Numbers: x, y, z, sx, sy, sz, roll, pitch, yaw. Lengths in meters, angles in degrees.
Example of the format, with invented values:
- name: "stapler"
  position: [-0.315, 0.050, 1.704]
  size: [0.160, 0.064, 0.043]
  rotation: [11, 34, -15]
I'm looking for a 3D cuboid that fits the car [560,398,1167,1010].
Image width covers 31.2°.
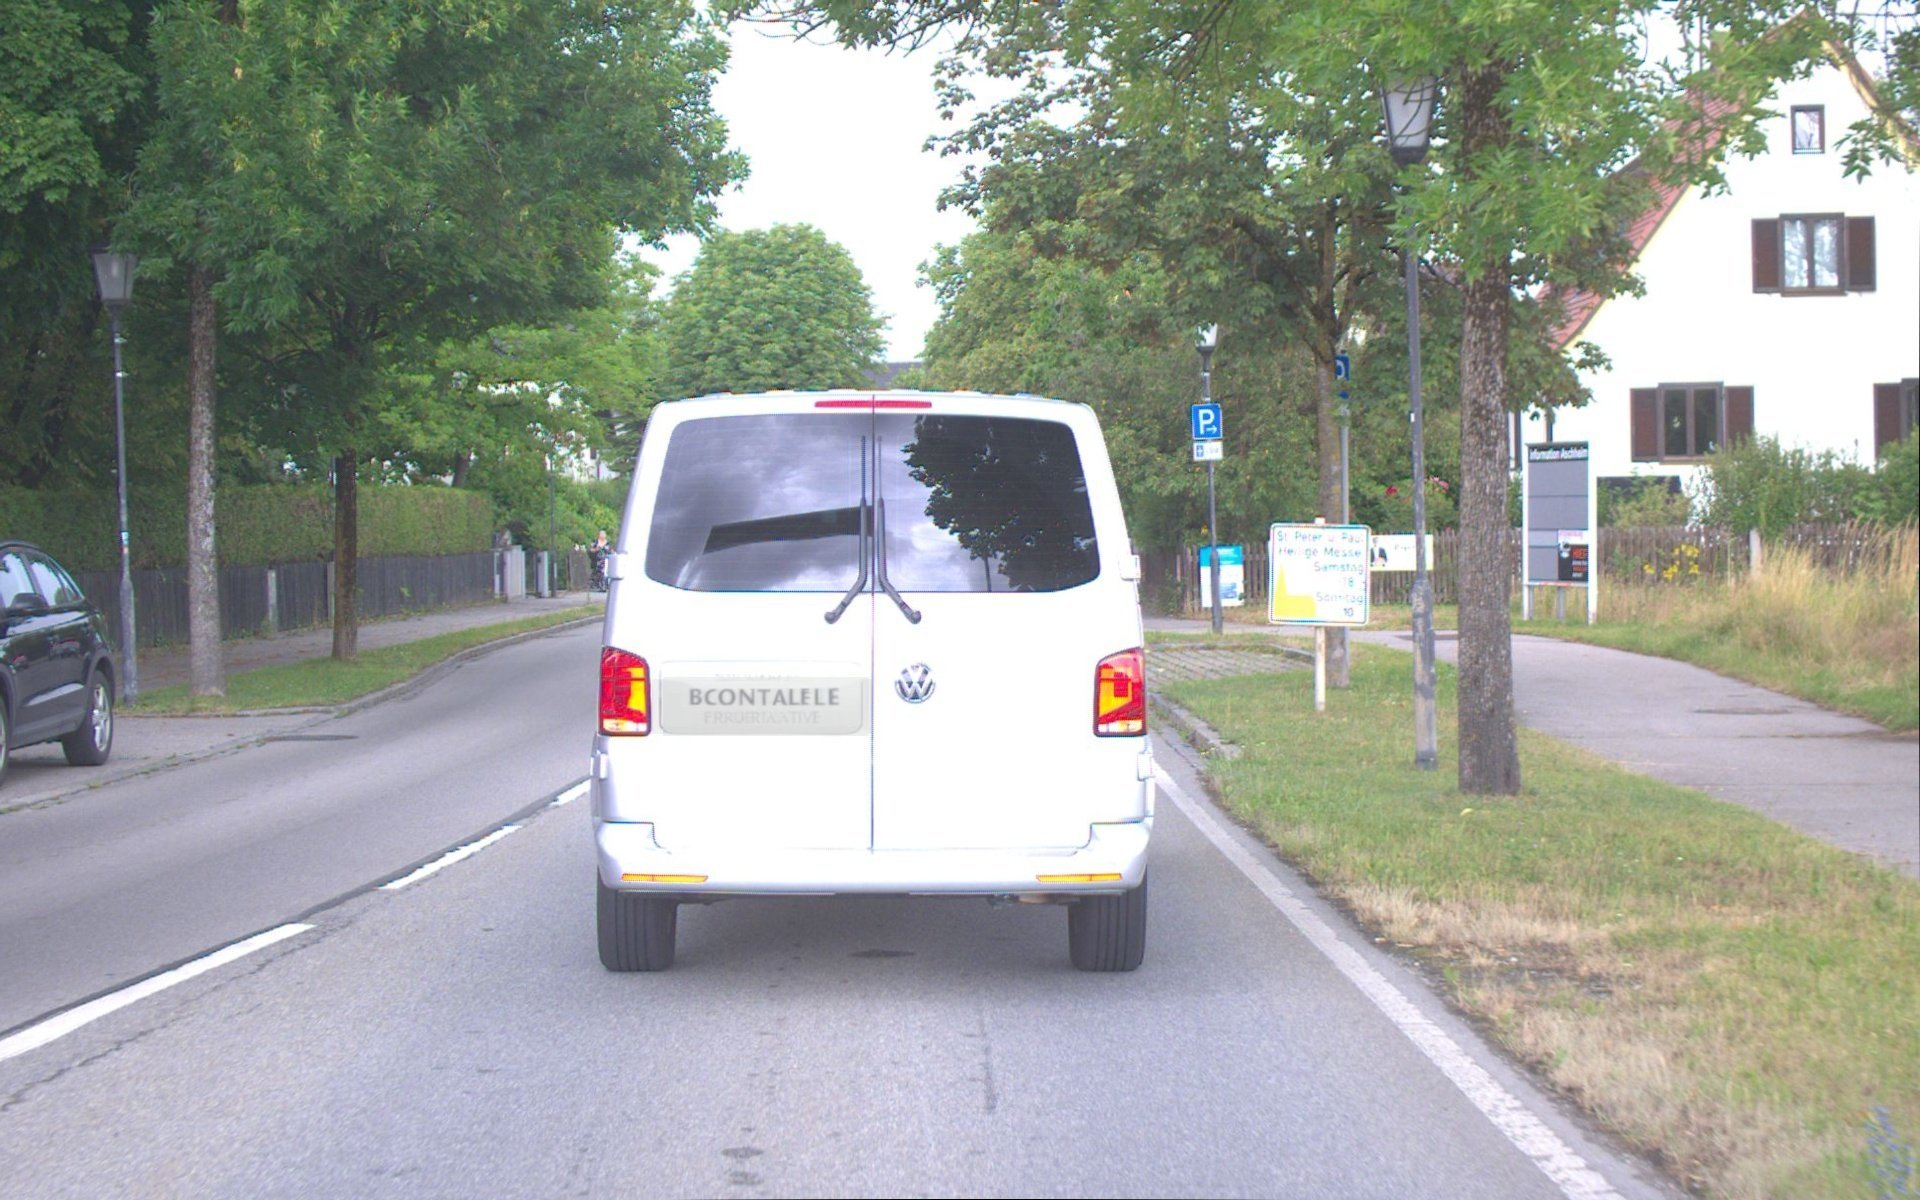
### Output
- name: "car"
  position: [-0.305, 0.286, 12.731]
  size: [1.888, 1.905, 4.000]
  rotation: [0, 1, 0]

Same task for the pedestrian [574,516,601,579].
- name: "pedestrian"
  position: [-9.211, -1.293, 85.116]
  size: [0.622, 1.544, 0.522]
  rotation: [1, 1, -3]

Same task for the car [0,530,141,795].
- name: "car"
  position: [-6.818, 0.362, 22.675]
  size: [1.771, 1.592, 4.238]
  rotation: [0, 2, 1]
